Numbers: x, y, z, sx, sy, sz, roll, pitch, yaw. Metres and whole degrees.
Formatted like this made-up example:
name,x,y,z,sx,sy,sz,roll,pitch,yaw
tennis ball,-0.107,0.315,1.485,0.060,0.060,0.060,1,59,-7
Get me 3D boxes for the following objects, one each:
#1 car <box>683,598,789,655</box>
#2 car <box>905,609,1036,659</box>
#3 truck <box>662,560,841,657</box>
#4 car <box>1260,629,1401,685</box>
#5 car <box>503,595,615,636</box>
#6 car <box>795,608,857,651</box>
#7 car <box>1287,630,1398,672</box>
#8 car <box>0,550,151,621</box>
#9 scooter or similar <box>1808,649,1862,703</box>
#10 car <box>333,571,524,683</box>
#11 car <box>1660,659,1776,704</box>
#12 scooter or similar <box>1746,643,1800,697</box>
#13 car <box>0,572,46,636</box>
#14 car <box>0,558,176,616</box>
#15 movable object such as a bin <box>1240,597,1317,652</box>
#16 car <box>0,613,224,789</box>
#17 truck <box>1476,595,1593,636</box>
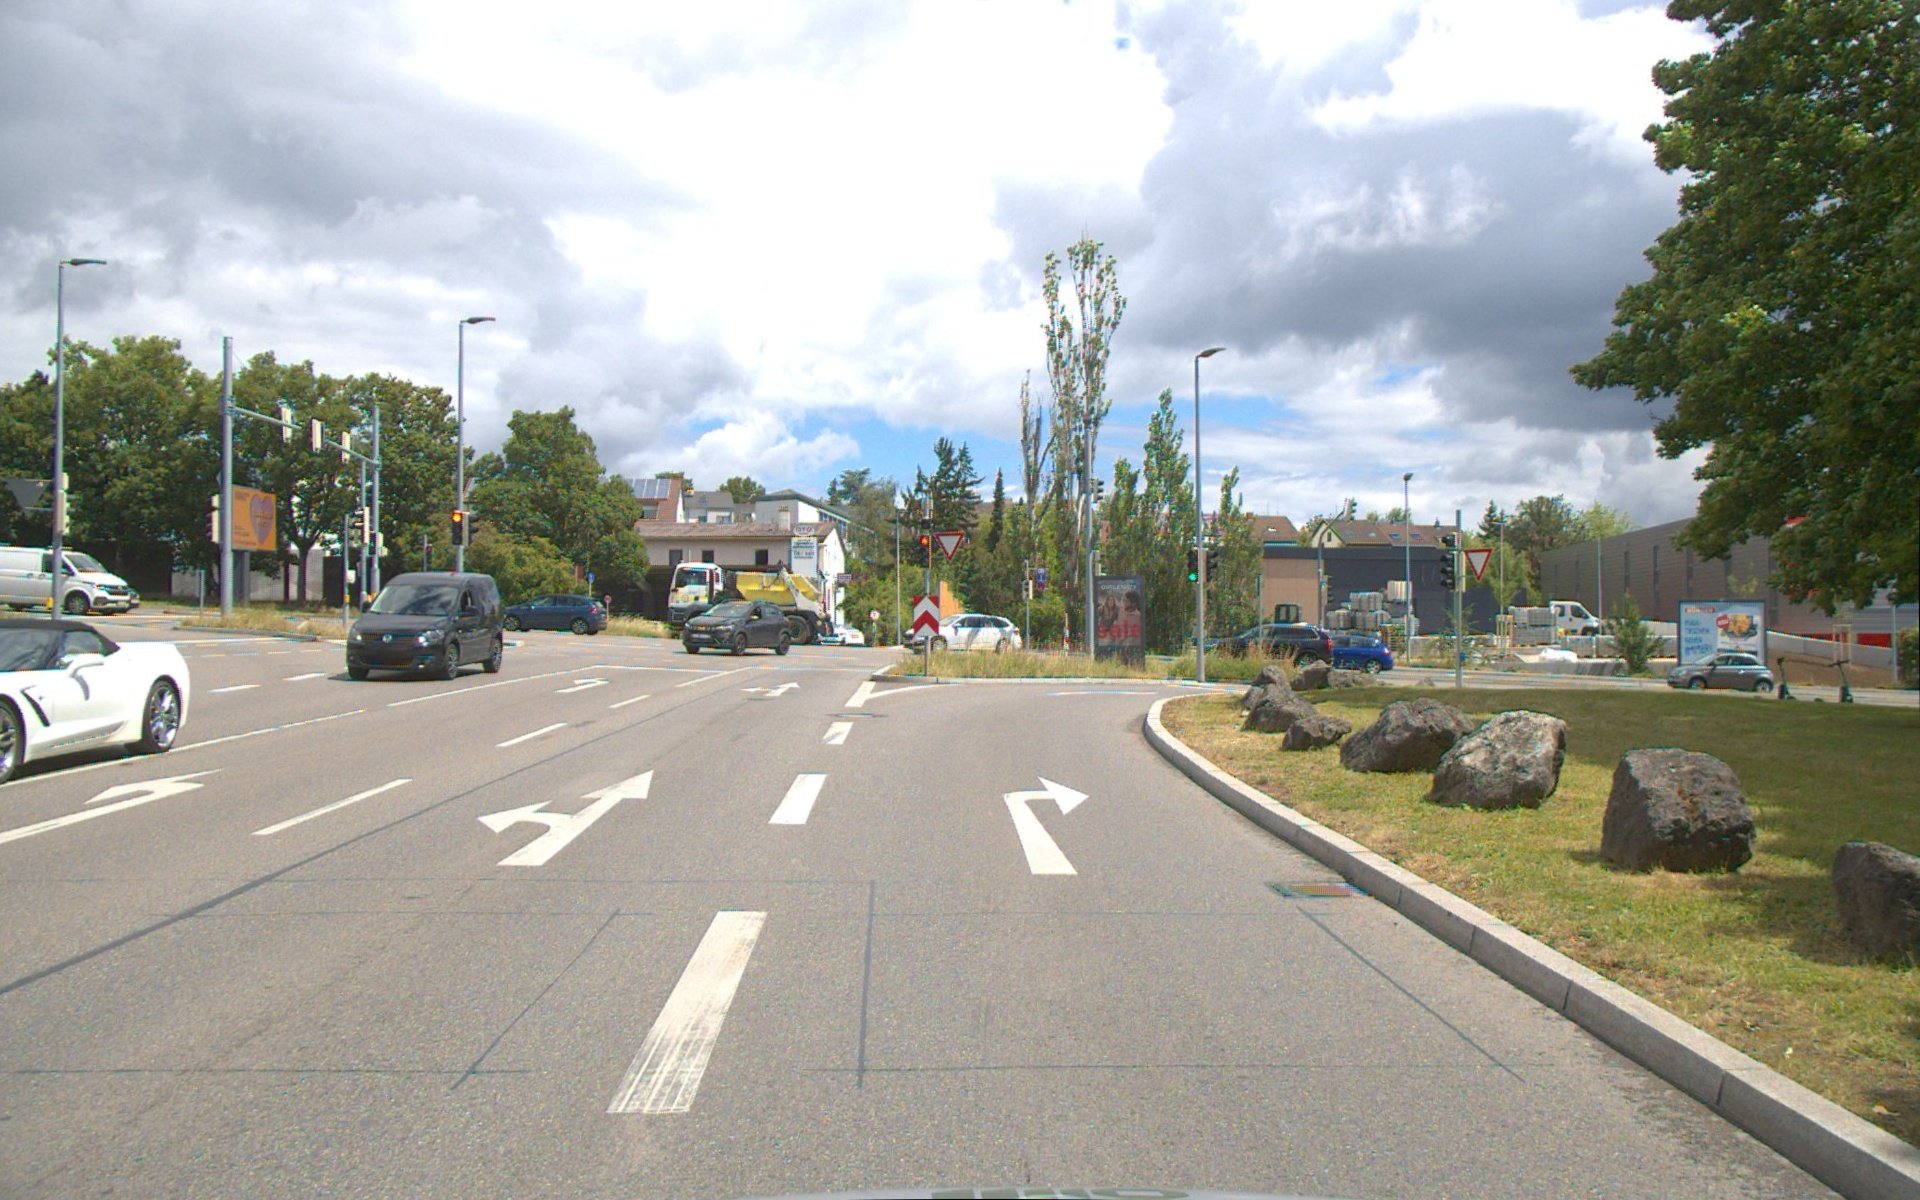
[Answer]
name,x,y,z,sx,sy,sz,roll,pitch,yaw
car,-6.512,0.757,48.619,1.747,1.605,4.168,1,0,12
car,0.374,1.205,58.414,4.304,1.495,1.611,3,0,-23
truck,-8.517,0.359,68.105,6.800,3.642,2.847,-2,-1,2
car,13.429,2.047,60.162,4.860,1.719,1.912,3,0,12
car,-15.686,0.604,64.772,3.904,1.425,1.697,2,-1,2
car,-6.877,1.537,84.516,1.967,2.049,3.971,-2,-1,-23
car,14.674,1.942,63.556,3.904,1.425,1.697,2,-1,2
car,-28.365,-0.474,51.965,4.854,1.971,1.910,3,0,-1
scooter or similar,21.339,1.853,40.346,1.169,1.286,0.531,3,-3,-21
car,-9.372,0.441,29.581,1.748,1.810,4.812,1,0,1
car,27.201,2.923,59.432,3.438,1.486,1.586,-1,0,5
scooter or similar,19.872,1.718,40.428,1.169,1.286,0.531,3,-3,-21
car,-27.047,0.027,44.802,4.350,1.665,1.908,3,0,28
car,-29.523,-0.436,56.067,4.854,1.664,1.910,3,0,-1
movable object such as a bin,15.891,1.219,82.458,3.333,2.582,2.153,2,-1,21
car,-8.166,0.789,13.977,1.866,1.314,4.608,-1,0,-1
truck,34.011,0.916,98.055,6.421,2.183,2.001,-3,-1,18
